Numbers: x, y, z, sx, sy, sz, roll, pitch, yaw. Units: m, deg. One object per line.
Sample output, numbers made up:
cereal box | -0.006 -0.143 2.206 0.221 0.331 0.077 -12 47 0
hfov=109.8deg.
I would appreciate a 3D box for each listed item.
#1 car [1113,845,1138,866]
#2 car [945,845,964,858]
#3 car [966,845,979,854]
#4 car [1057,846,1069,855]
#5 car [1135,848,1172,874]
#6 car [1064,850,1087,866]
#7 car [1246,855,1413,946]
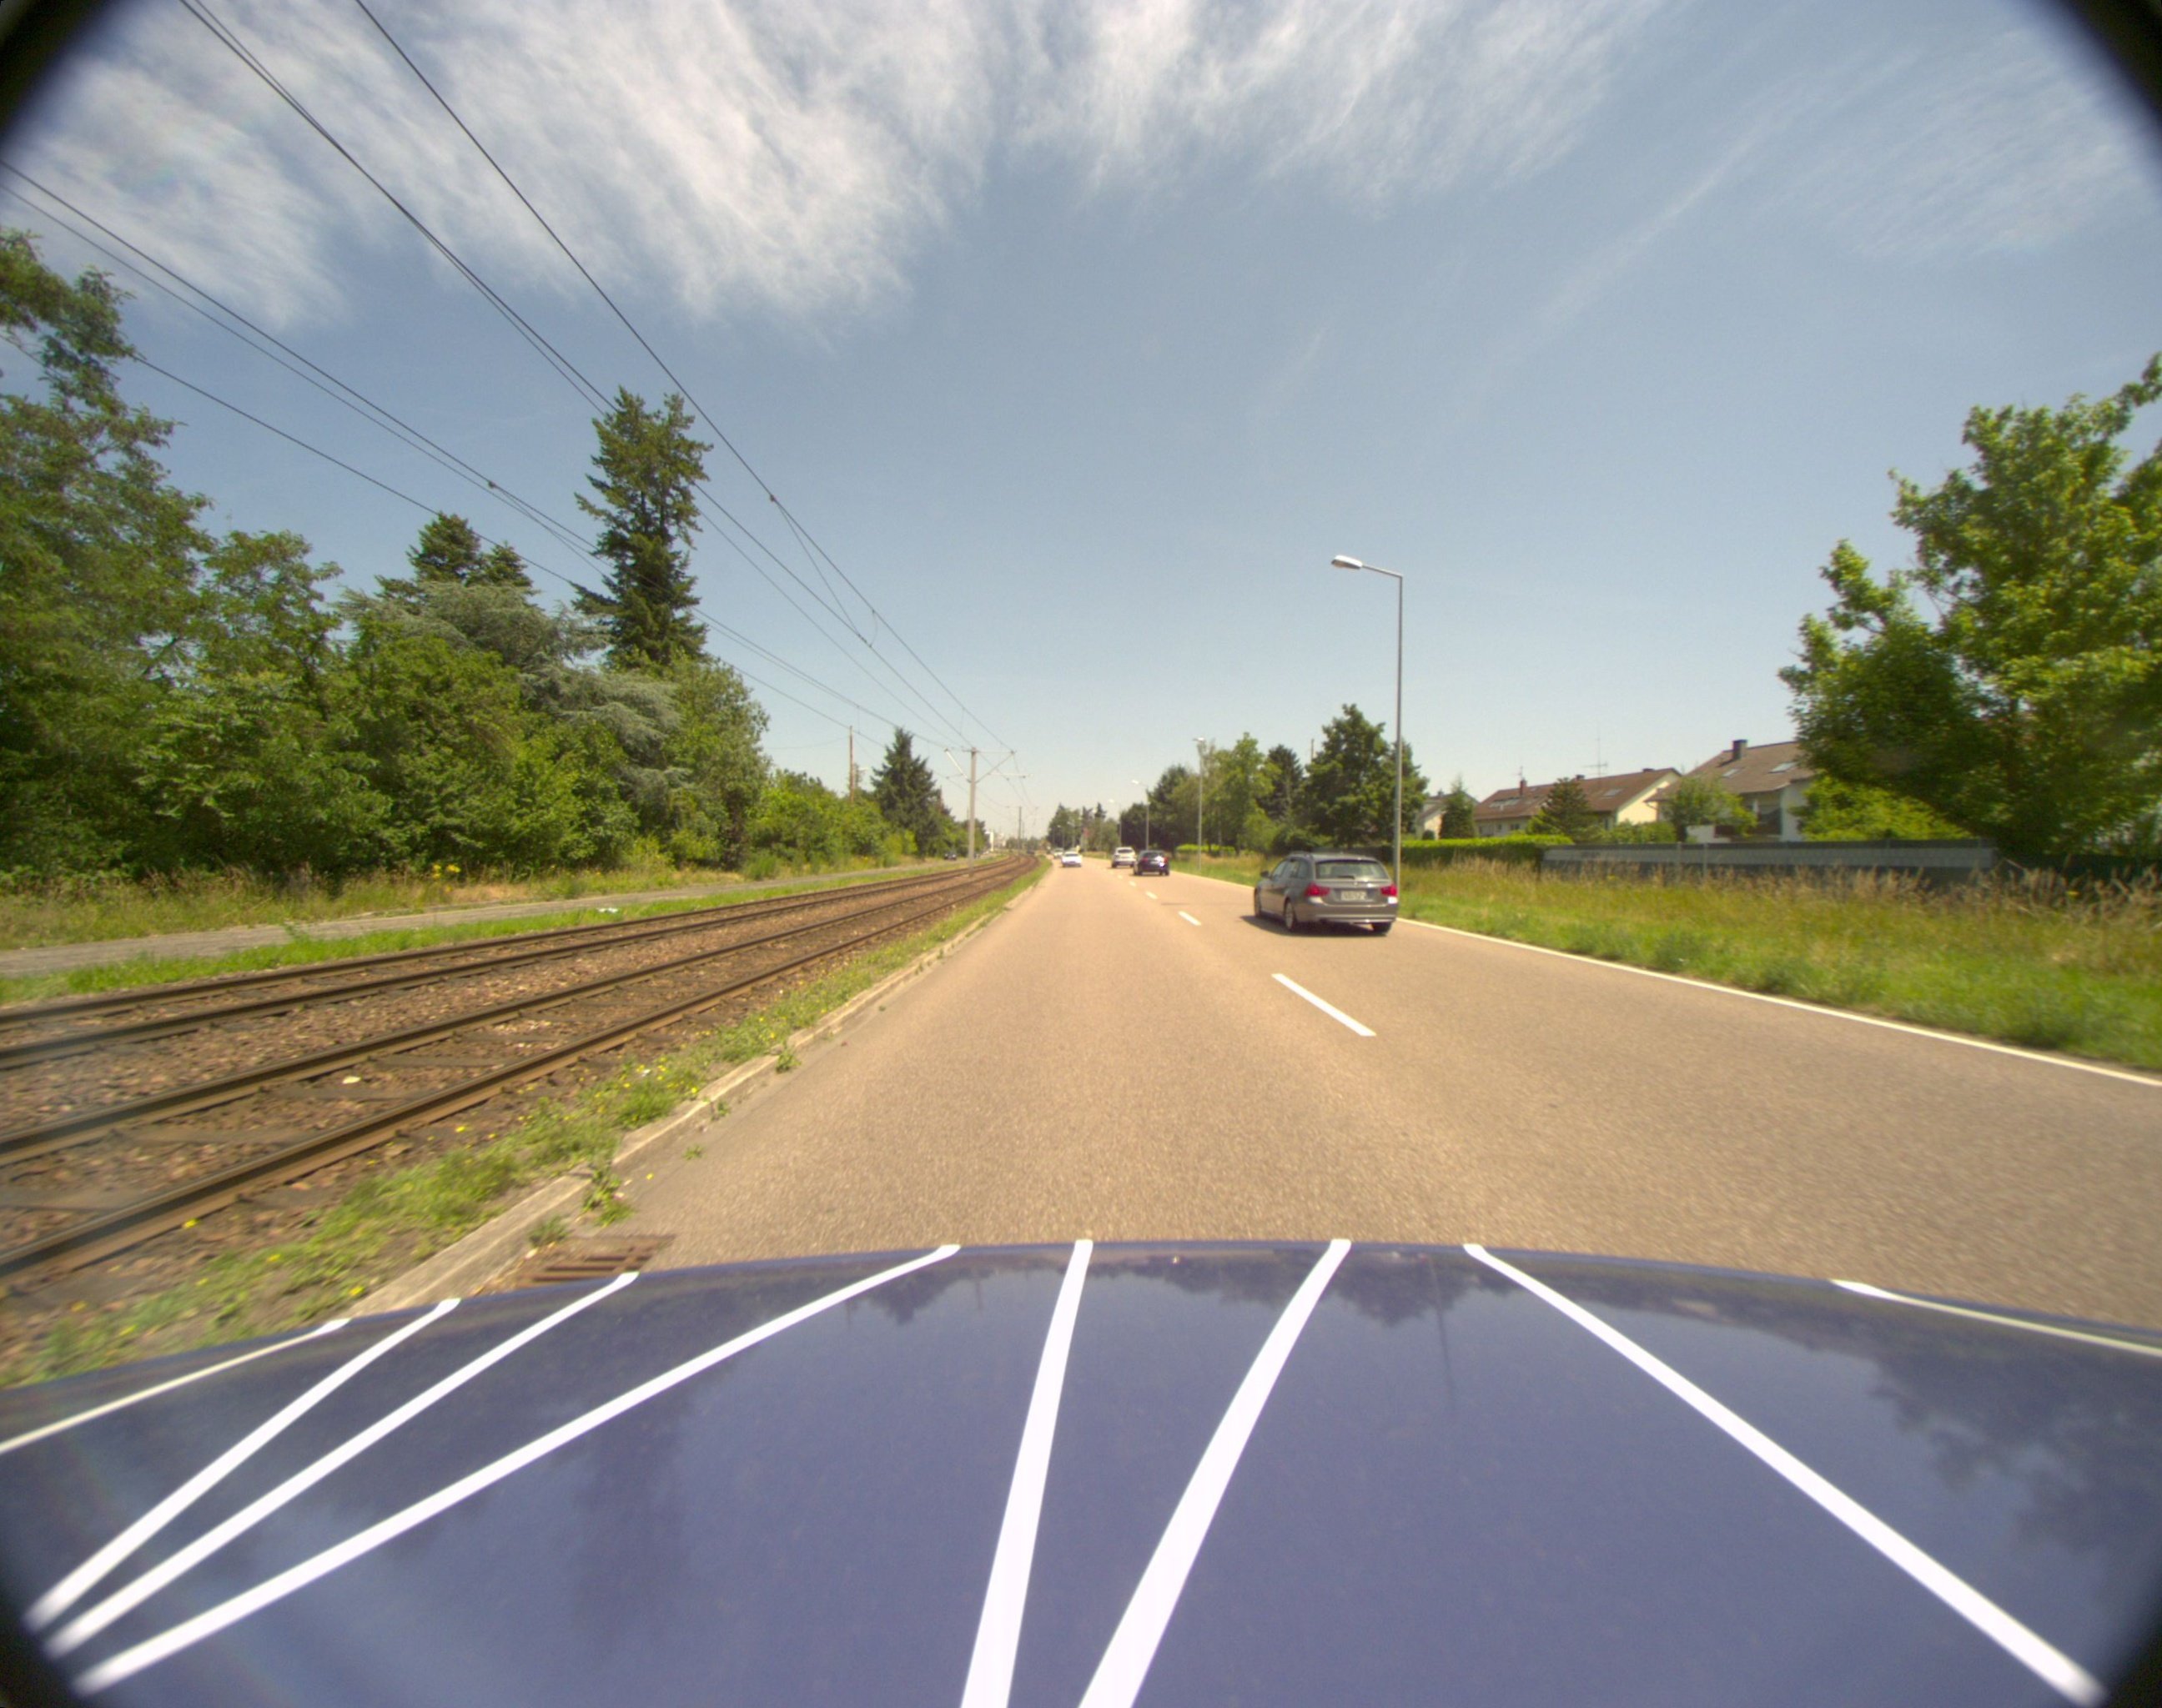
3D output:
car | 3.844 0.103 65.906 1.844 1.750 4.931 1 1 0
car | -18.116 -0.418 108.833 1.998 1.711 3.999 -2 1 0
car | -19.733 -0.844 138.804 1.946 1.685 3.998 -2 1 -3
car | -3.294 -0.641 137.163 1.892 1.456 3.998 0 1 -4
car | 4.266 0.381 45.210 1.740 1.487 4.828 1 1 0
car | -0.563 0.354 73.350 1.955 1.467 4.360 0 1 -3
car | 4.473 0.749 14.428 1.761 1.414 4.323 0 1 0
